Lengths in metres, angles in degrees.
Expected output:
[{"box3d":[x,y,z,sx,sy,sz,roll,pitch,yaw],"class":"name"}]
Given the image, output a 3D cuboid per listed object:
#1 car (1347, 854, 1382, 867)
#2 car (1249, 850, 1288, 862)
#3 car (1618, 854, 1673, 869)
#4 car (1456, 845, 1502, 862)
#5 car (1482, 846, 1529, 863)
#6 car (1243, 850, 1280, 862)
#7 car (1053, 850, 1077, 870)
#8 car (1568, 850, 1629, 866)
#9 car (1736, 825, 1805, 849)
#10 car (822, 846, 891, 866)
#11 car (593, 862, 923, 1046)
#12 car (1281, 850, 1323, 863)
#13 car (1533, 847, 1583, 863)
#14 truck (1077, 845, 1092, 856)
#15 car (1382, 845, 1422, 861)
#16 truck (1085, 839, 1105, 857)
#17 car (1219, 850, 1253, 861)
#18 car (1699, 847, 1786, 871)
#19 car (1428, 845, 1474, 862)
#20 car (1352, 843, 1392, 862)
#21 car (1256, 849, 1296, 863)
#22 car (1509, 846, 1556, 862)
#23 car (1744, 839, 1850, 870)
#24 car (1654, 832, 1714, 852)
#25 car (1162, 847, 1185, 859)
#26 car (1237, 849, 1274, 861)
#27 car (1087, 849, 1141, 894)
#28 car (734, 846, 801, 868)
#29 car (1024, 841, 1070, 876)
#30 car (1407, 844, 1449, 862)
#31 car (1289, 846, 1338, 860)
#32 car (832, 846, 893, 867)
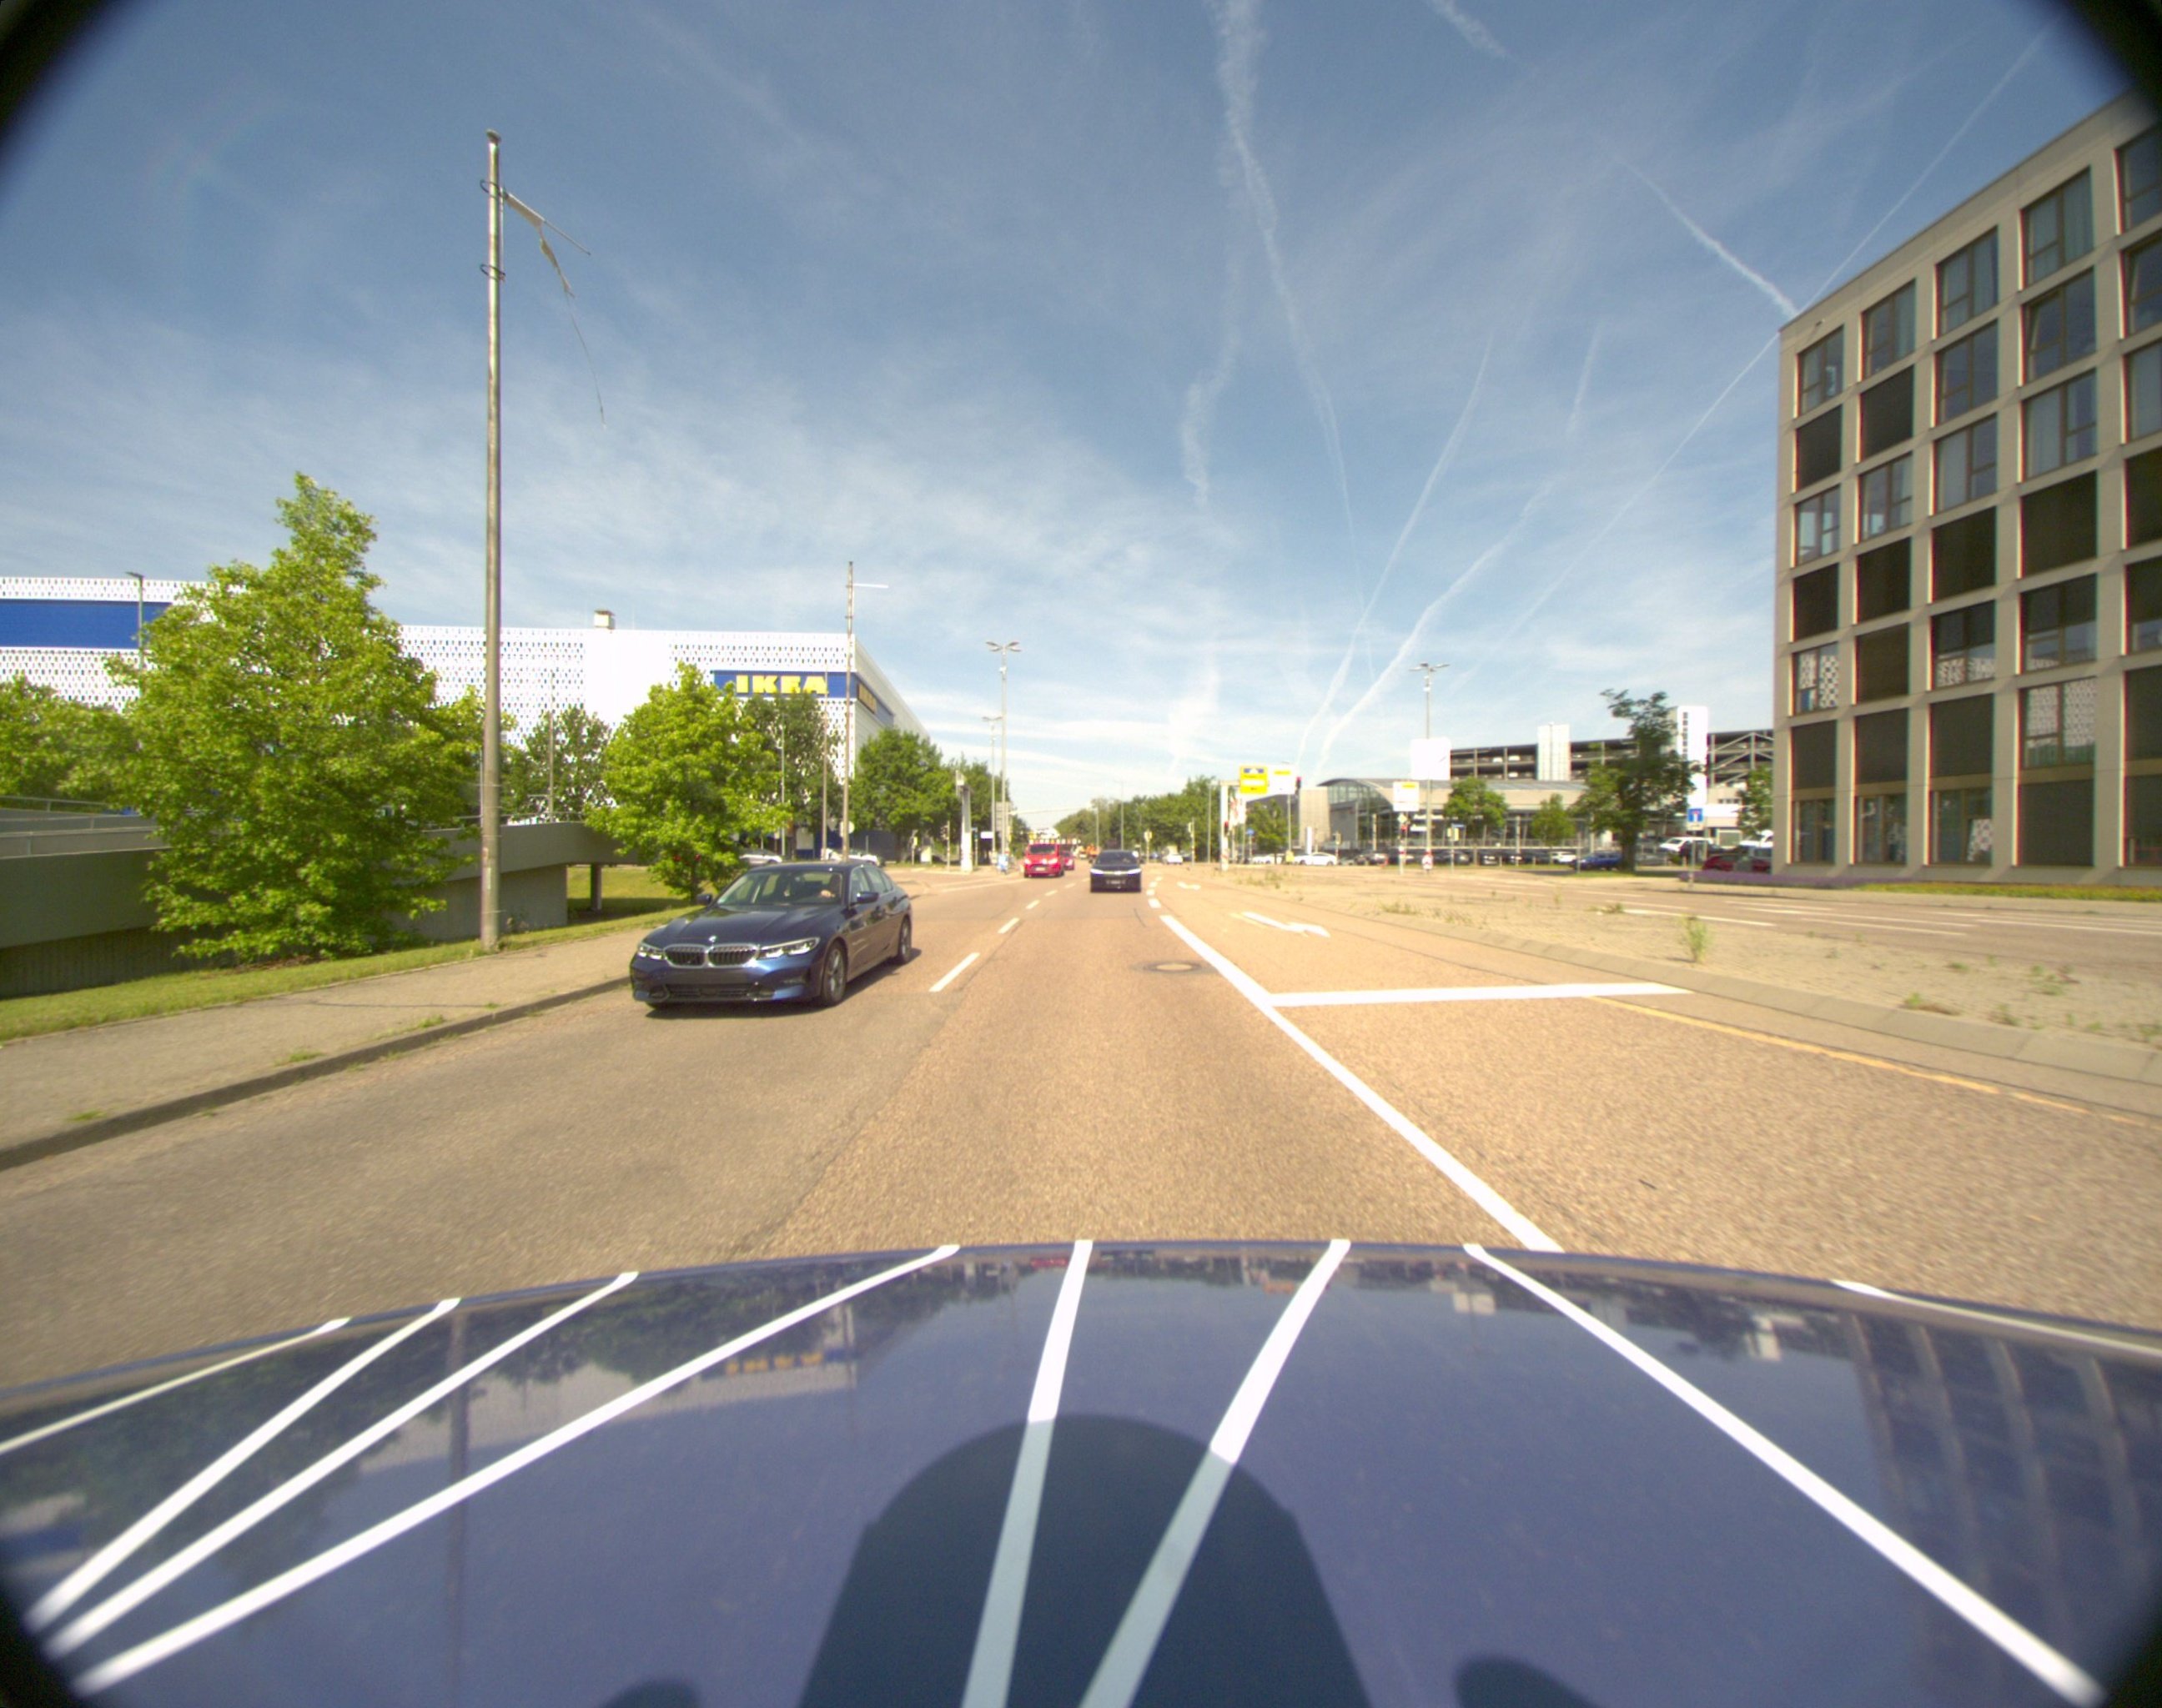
[{"box3d":[33.205,0.753,89.030,3.518,1.465,1.659,0,0,-6],"class":"car"},{"box3d":[22.333,0.222,90.637,3.999,1.311,1.867,3,0,-5],"class":"car"},{"box3d":[55.460,0.715,74.723,4.017,1.434,1.800,0,1,22],"class":"car"},{"box3d":[39.118,-0.010,74.767,1.783,1.507,4.673,0,-2,-5],"class":"car"},{"box3d":[41.726,0.064,74.840,1.793,1.433,4.631,0,-2,-5],"class":"car"},{"box3d":[22.073,0.194,93.194,3.998,1.311,1.837,3,0,-3],"class":"car"},{"box3d":[-1.219,0.397,57.198,1.692,1.414,3.915,-1,0,-1],"class":"car"},{"box3d":[42.696,0.313,62.743,3.801,1.282,1.660,0,1,2],"class":"car"},{"box3d":[72.348,-1.774,79.791,5.549,2.329,2.088,-1,0,-4],"class":"car"},{"box3d":[-17.113,0.141,58.081,4.729,1.417,1.958,0,2,-1],"class":"car"},{"box3d":[-3.245,0.886,8.790,1.800,1.421,4.537,-1,1,1],"class":"car"},{"box3d":[23.262,0.247,80.056,3.846,1.394,1.763,0,0,-6],"class":"car"},{"box3d":[47.171,0.095,75.266,1.793,1.433,4.558,0,-1,-5],"class":"car"},{"box3d":[0.788,-0.866,179.220,2.383,2.609,6.667,-1,0,-10],"class":"truck"},{"box3d":[30.969,-0.064,73.522,1.793,1.433,4.200,0,-2,-5],"class":"car"},{"box3d":[2.943,-1.276,161.824,2.756,3.659,7.570,0,1,-12],"class":"truck"},{"box3d":[21.294,0.176,104.408,4.228,1.387,1.801,3,0,-5],"class":"car"},{"box3d":[41.335,0.324,47.538,4.018,1.407,1.812,0,0,44],"class":"car"},{"box3d":[36.272,-0.010,74.593,1.793,1.496,4.776,0,-2,-5],"class":"car"},{"box3d":[28.249,-0.124,73.864,1.819,1.603,4.595,0,-2,-4],"class":"car"},{"box3d":[22.600,0.225,88.023,4.084,1.362,1.877,3,0,-5],"class":"car"},{"box3d":[44.466,0.054,74.966,1.793,1.433,4.401,0,-2,-5],"class":"car"},{"box3d":[45.018,0.044,47.906,4.800,1.810,1.902,0,0,42],"class":"car"},{"box3d":[61.189,-1.223,77.182,4.546,1.898,2.086,-1,4,-6],"class":"car"},{"box3d":[11.403,-0.111,94.001,1.787,1.452,4.331,1,0,-6],"class":"car"},{"box3d":[22.019,0.181,96.055,4.187,1.327,1.853,3,0,-5],"class":"car"},{"box3d":[1.171,0.587,28.464,1.847,1.531,4.000,-1,0,1],"class":"car"},{"box3d":[-22.784,0.215,55.294,4.039,1.500,1.908,1,2,-1],"class":"car"},{"box3d":[-1.855,0.251,43.204,2.013,1.896,4.811,0,0,4],"class":"car"},{"box3d":[33.754,-0.070,74.112,1.793,1.534,4.375,0,-2,-5],"class":"car"},{"box3d":[23.706,-0.104,77.587,4.385,1.424,1.899,0,0,-3],"class":"car"},{"box3d":[-15.826,0.175,55.074,3.894,1.549,1.808,0,1,0],"class":"car"}]
